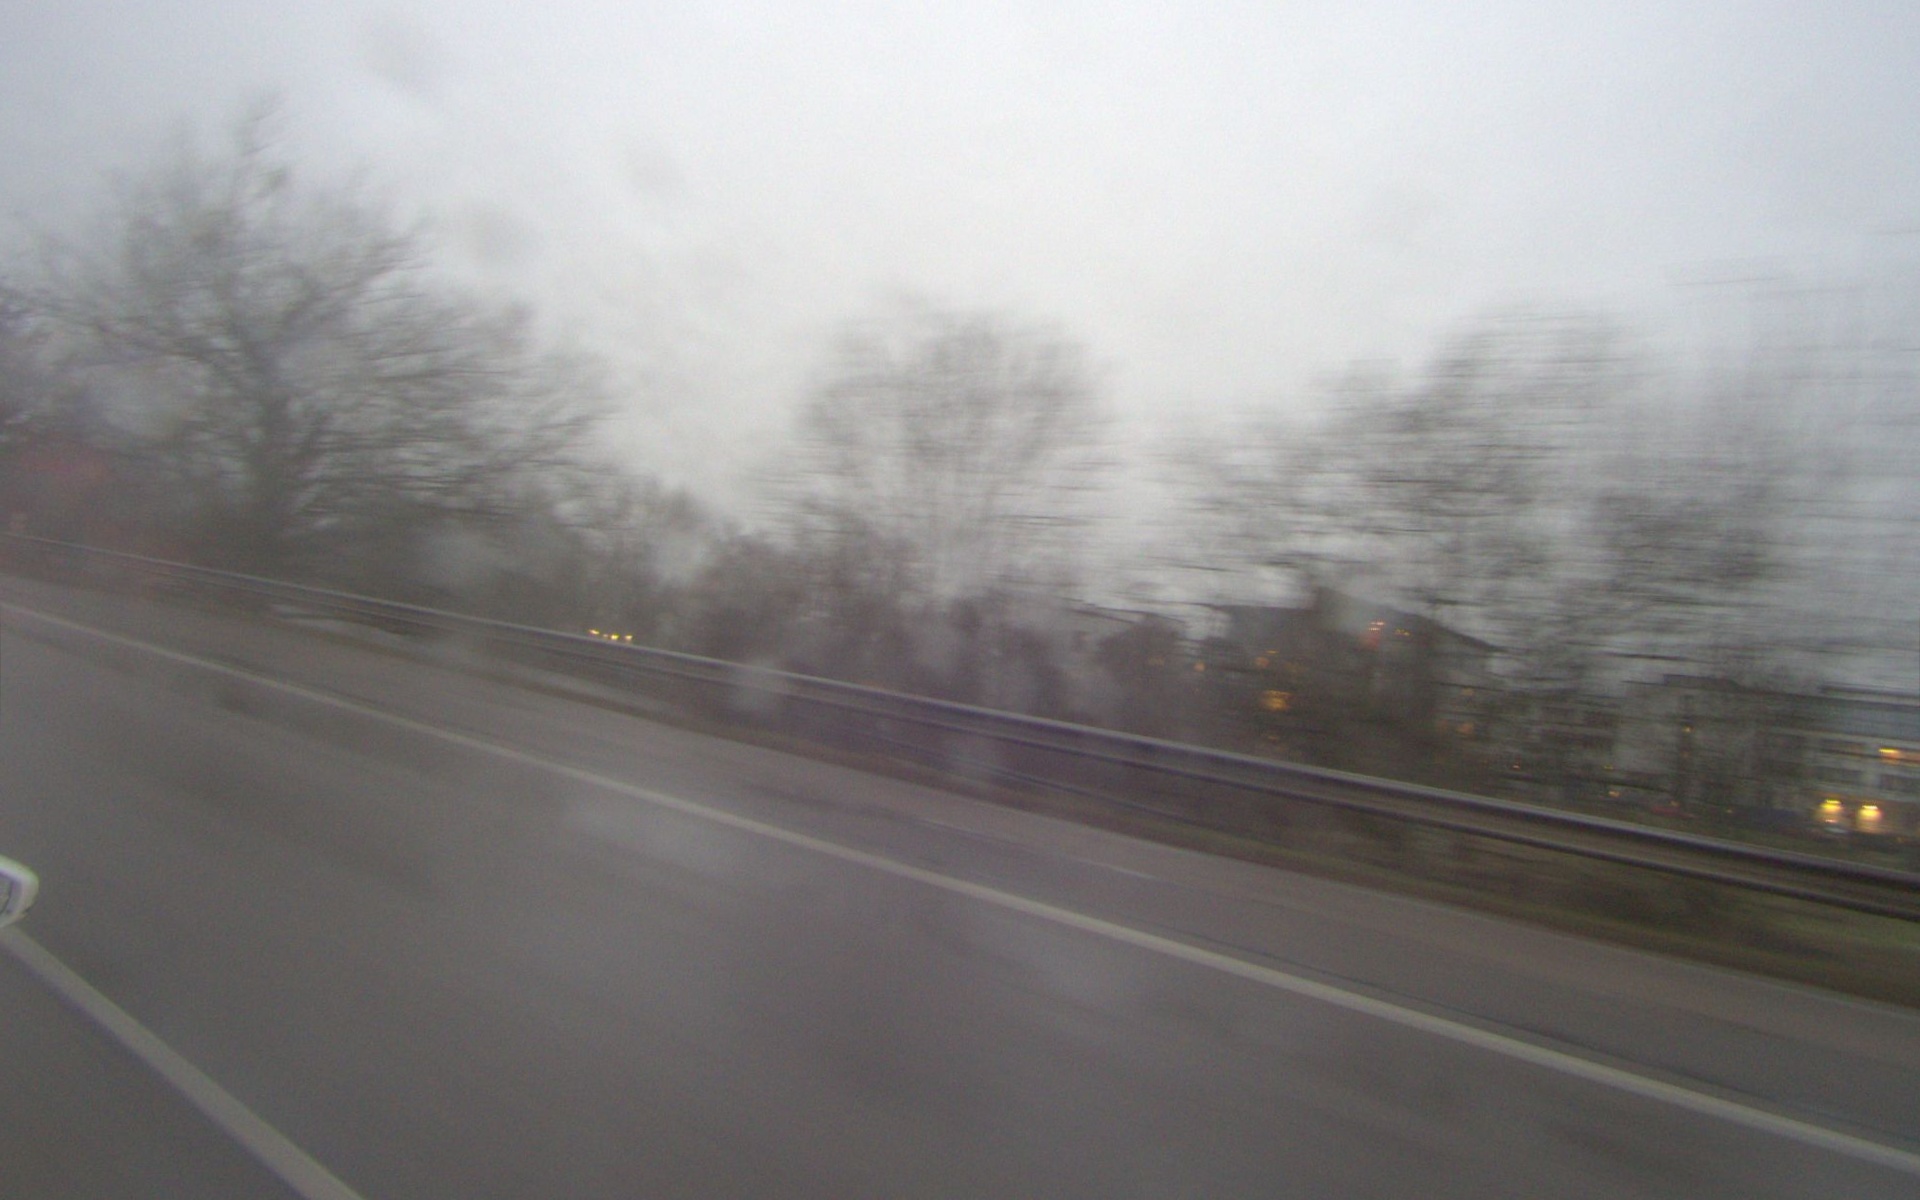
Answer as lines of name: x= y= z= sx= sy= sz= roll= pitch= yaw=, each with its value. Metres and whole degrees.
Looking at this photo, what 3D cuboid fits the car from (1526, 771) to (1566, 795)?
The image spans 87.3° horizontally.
car: x=72.713 y=22.686 z=124.767 sx=3.938 sy=2.037 sz=1.995 roll=7 pitch=-2 yaw=36
